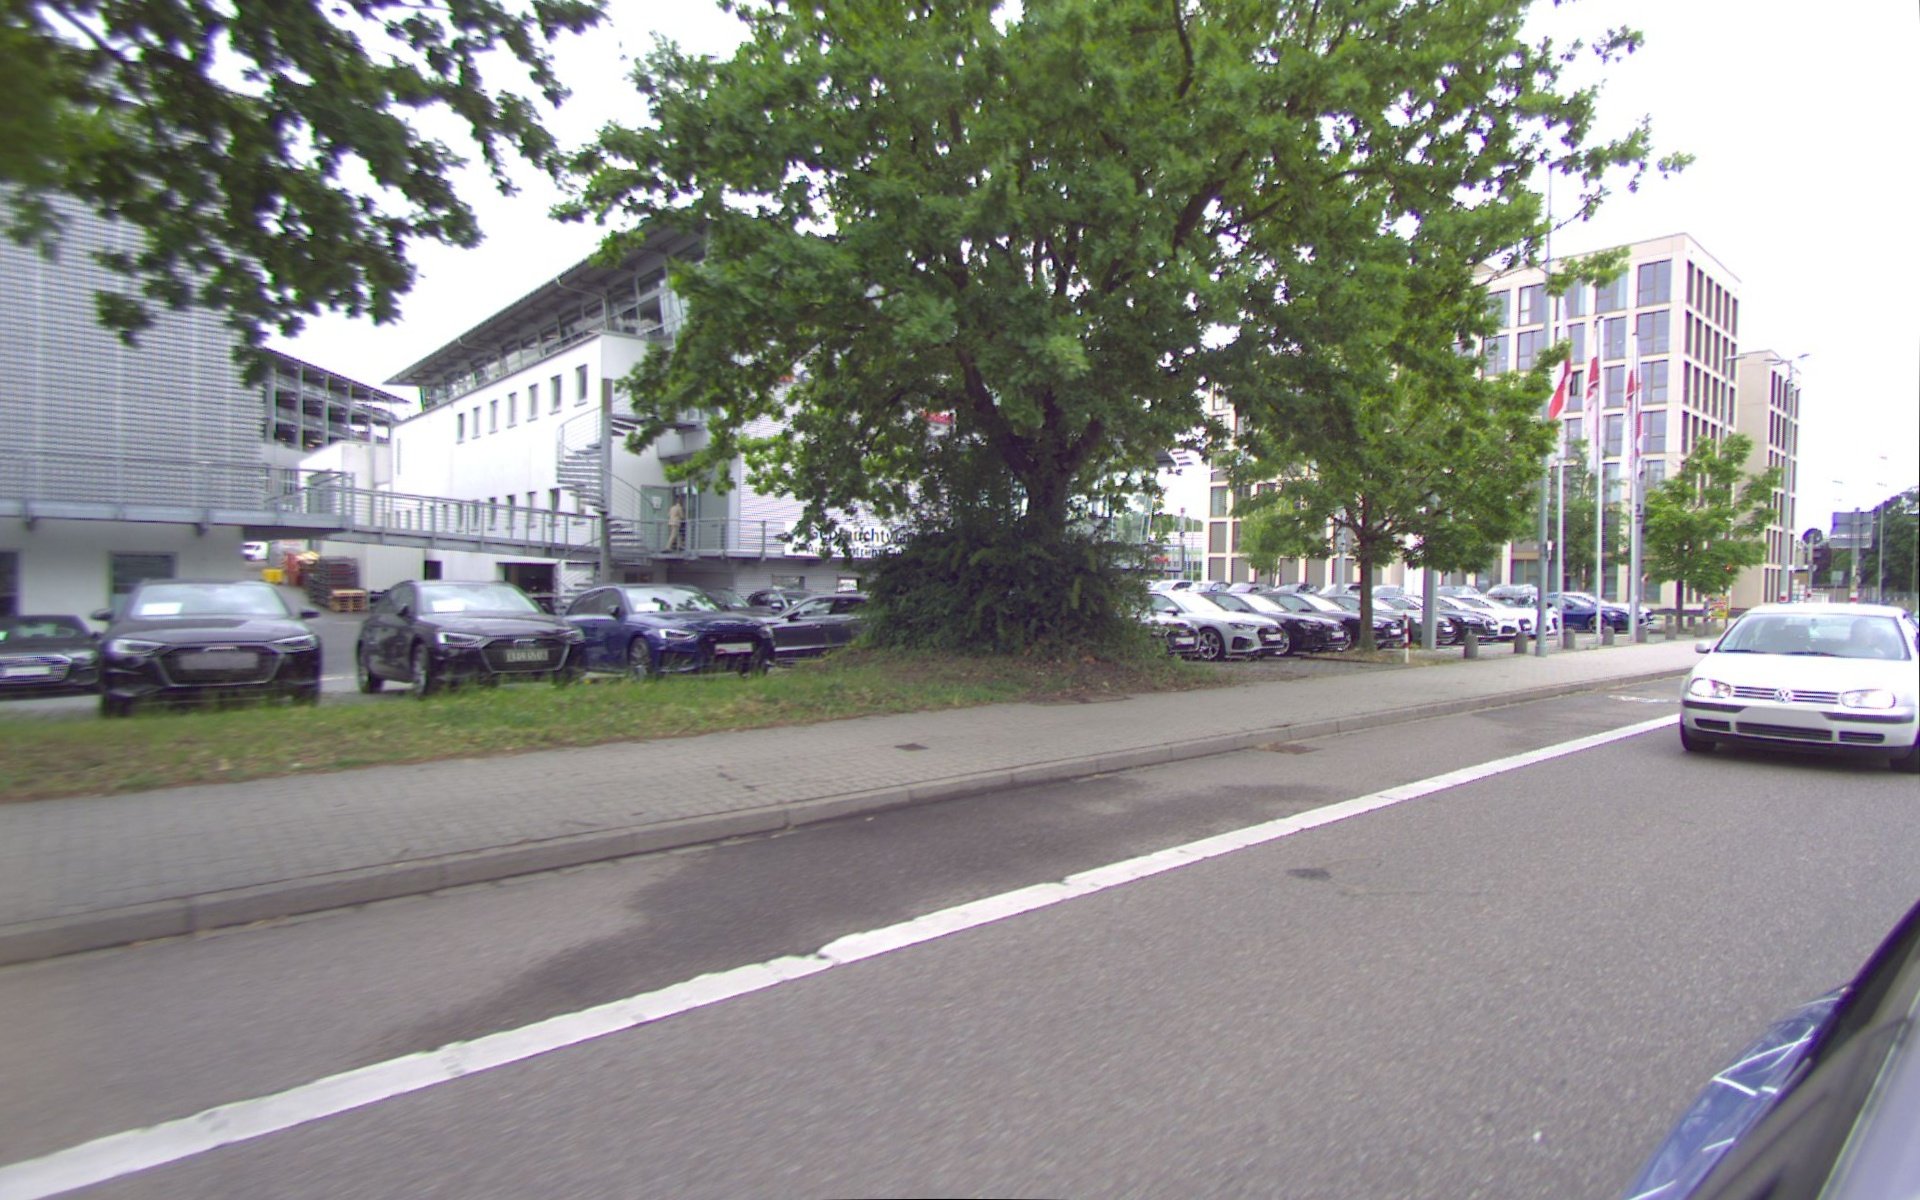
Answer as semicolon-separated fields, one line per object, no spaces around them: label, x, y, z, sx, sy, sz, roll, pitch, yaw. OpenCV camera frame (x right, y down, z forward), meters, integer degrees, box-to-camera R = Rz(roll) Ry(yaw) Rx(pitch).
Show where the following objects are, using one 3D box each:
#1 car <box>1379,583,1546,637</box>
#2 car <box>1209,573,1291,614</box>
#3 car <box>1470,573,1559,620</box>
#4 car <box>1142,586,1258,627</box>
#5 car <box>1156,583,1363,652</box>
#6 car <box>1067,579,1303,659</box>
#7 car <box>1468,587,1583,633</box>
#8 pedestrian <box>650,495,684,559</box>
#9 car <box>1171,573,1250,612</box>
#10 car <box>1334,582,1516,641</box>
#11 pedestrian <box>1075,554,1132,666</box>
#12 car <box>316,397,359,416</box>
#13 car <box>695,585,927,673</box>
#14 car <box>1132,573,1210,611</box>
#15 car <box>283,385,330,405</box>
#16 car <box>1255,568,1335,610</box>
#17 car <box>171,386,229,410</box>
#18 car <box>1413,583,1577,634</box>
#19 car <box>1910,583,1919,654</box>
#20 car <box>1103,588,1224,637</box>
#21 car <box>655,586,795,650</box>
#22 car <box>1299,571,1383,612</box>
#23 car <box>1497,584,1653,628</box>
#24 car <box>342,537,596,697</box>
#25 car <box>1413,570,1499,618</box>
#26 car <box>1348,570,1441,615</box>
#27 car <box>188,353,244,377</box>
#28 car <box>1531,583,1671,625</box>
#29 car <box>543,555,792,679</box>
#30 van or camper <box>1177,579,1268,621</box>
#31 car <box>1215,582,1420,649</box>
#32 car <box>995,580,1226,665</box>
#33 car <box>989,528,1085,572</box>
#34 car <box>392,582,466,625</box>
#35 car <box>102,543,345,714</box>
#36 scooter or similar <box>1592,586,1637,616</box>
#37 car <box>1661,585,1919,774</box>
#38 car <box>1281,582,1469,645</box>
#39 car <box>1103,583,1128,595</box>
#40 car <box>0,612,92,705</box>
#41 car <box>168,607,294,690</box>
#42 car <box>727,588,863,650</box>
car;14.844;0.320;30.074;1.843;1.505;4.038;0;-1;-40
car;15.823;-0.397;55.100;4.825;2.038;1.997;-2;2;-42
car;24.579;-0.203;44.785;4.706;1.885;1.997;-2;2;-42
car;9.549;0.312;40.463;1.894;1.505;4.257;2;-3;-40
car;6.679;0.407;22.908;1.869;1.408;4.161;0;-1;-40
car;4.563;0.390;21.149;1.815;1.491;4.656;1;-1;-41
car;19.425;0.323;34.675;4.671;1.505;1.890;-1;-1;-40
pedestrian;-9.664;-2.384;33.382;0.734;2.039;0.799;2;-1;-41
car;14.197;-0.461;57.279;4.825;2.038;1.997;-2;2;-42
car;12.882;0.335;28.247;1.838;1.505;4.226;0;-1;-39
pedestrian;2.502;0.170;17.630;0.706;1.895;0.673;0;-1;-38
car;-74.676;-23.198;121.435;3.920;1.688;2.002;2;0;-5
car;-2.819;0.542;19.745;4.198;1.518;1.767;2;-1;3
car;12.459;-0.505;59.529;4.825;2.038;1.997;-2;2;-42
car;-73.415;-23.005;113.745;3.920;1.688;2.002;2;0;-5
car;17.562;-0.598;52.881;4.709;2.038;1.995;-3;2;-43
car;-71.591;-19.003;95.404;3.920;1.688;2.002;2;0;-5
car;16.769;0.289;31.874;1.819;1.505;4.192;0;-1;-39
car;24.117;0.494;24.246;1.841;1.642;4.266;1;-1;42
car;7.663;0.462;38.386;1.778;1.717;4.313;2;-1;-40
car;-6.162;0.431;26.228;1.710;1.505;4.347;2;-1;-41
car;19.247;-0.474;51.034;4.881;1.899;2.049;-2;2;-43
car;22.486;0.238;37.129;2.035;1.505;4.507;-2;0;-42
car;-6.269;0.352;12.680;1.843;1.624;4.241;2;-6;-41
car;22.963;-0.317;46.781;4.636;2.038;1.997;-2;2;-41
car;21.150;-0.417;49.179;4.953;2.038;2.262;-2;2;-42
car;-72.093;-22.777;98.080;3.920;1.688;2.002;2;0;-5
car;24.628;0.136;38.993;1.842;1.505;4.224;-1;0;-40
car;-4.266;0.348;14.335;1.838;1.412;4.127;2;-6;-41
van or camper;11.591;0.026;44.610;3.929;1.699;1.997;2;-1;-41
car;8.618;0.379;24.715;1.861;1.489;4.372;0;-1;-41
car;2.750;0.403;19.285;1.823;1.439;4.211;0;-1;-41
car;3.305;-2.126;43.804;1.793;1.683;3.993;2;-1;-41
car;-22.097;0.103;42.035;1.838;1.655;4.130;-1;1;-41
car;-8.203;0.438;11.114;1.793;1.506;4.212;2;-6;-41
scooter or similar;28.888;0.024;44.693;0.547;1.234;1.563;4;0;-23
car;8.612;0.647;9.972;3.933;1.496;1.836;1;0;-40
car;10.809;0.362;26.579;1.875;1.505;4.183;0;-1;-41
car;17.761;-1.252;115.572;1.476;1.349;3.200;1;-1;34
car;-16.262;0.951;17.682;1.621;1.381;3.763;2;-1;-41
car;-14.142;0.874;19.553;1.621;1.381;3.763;2;-1;-41
car;-4.611;0.487;27.881;1.784;1.564;4.109;2;-1;-41
